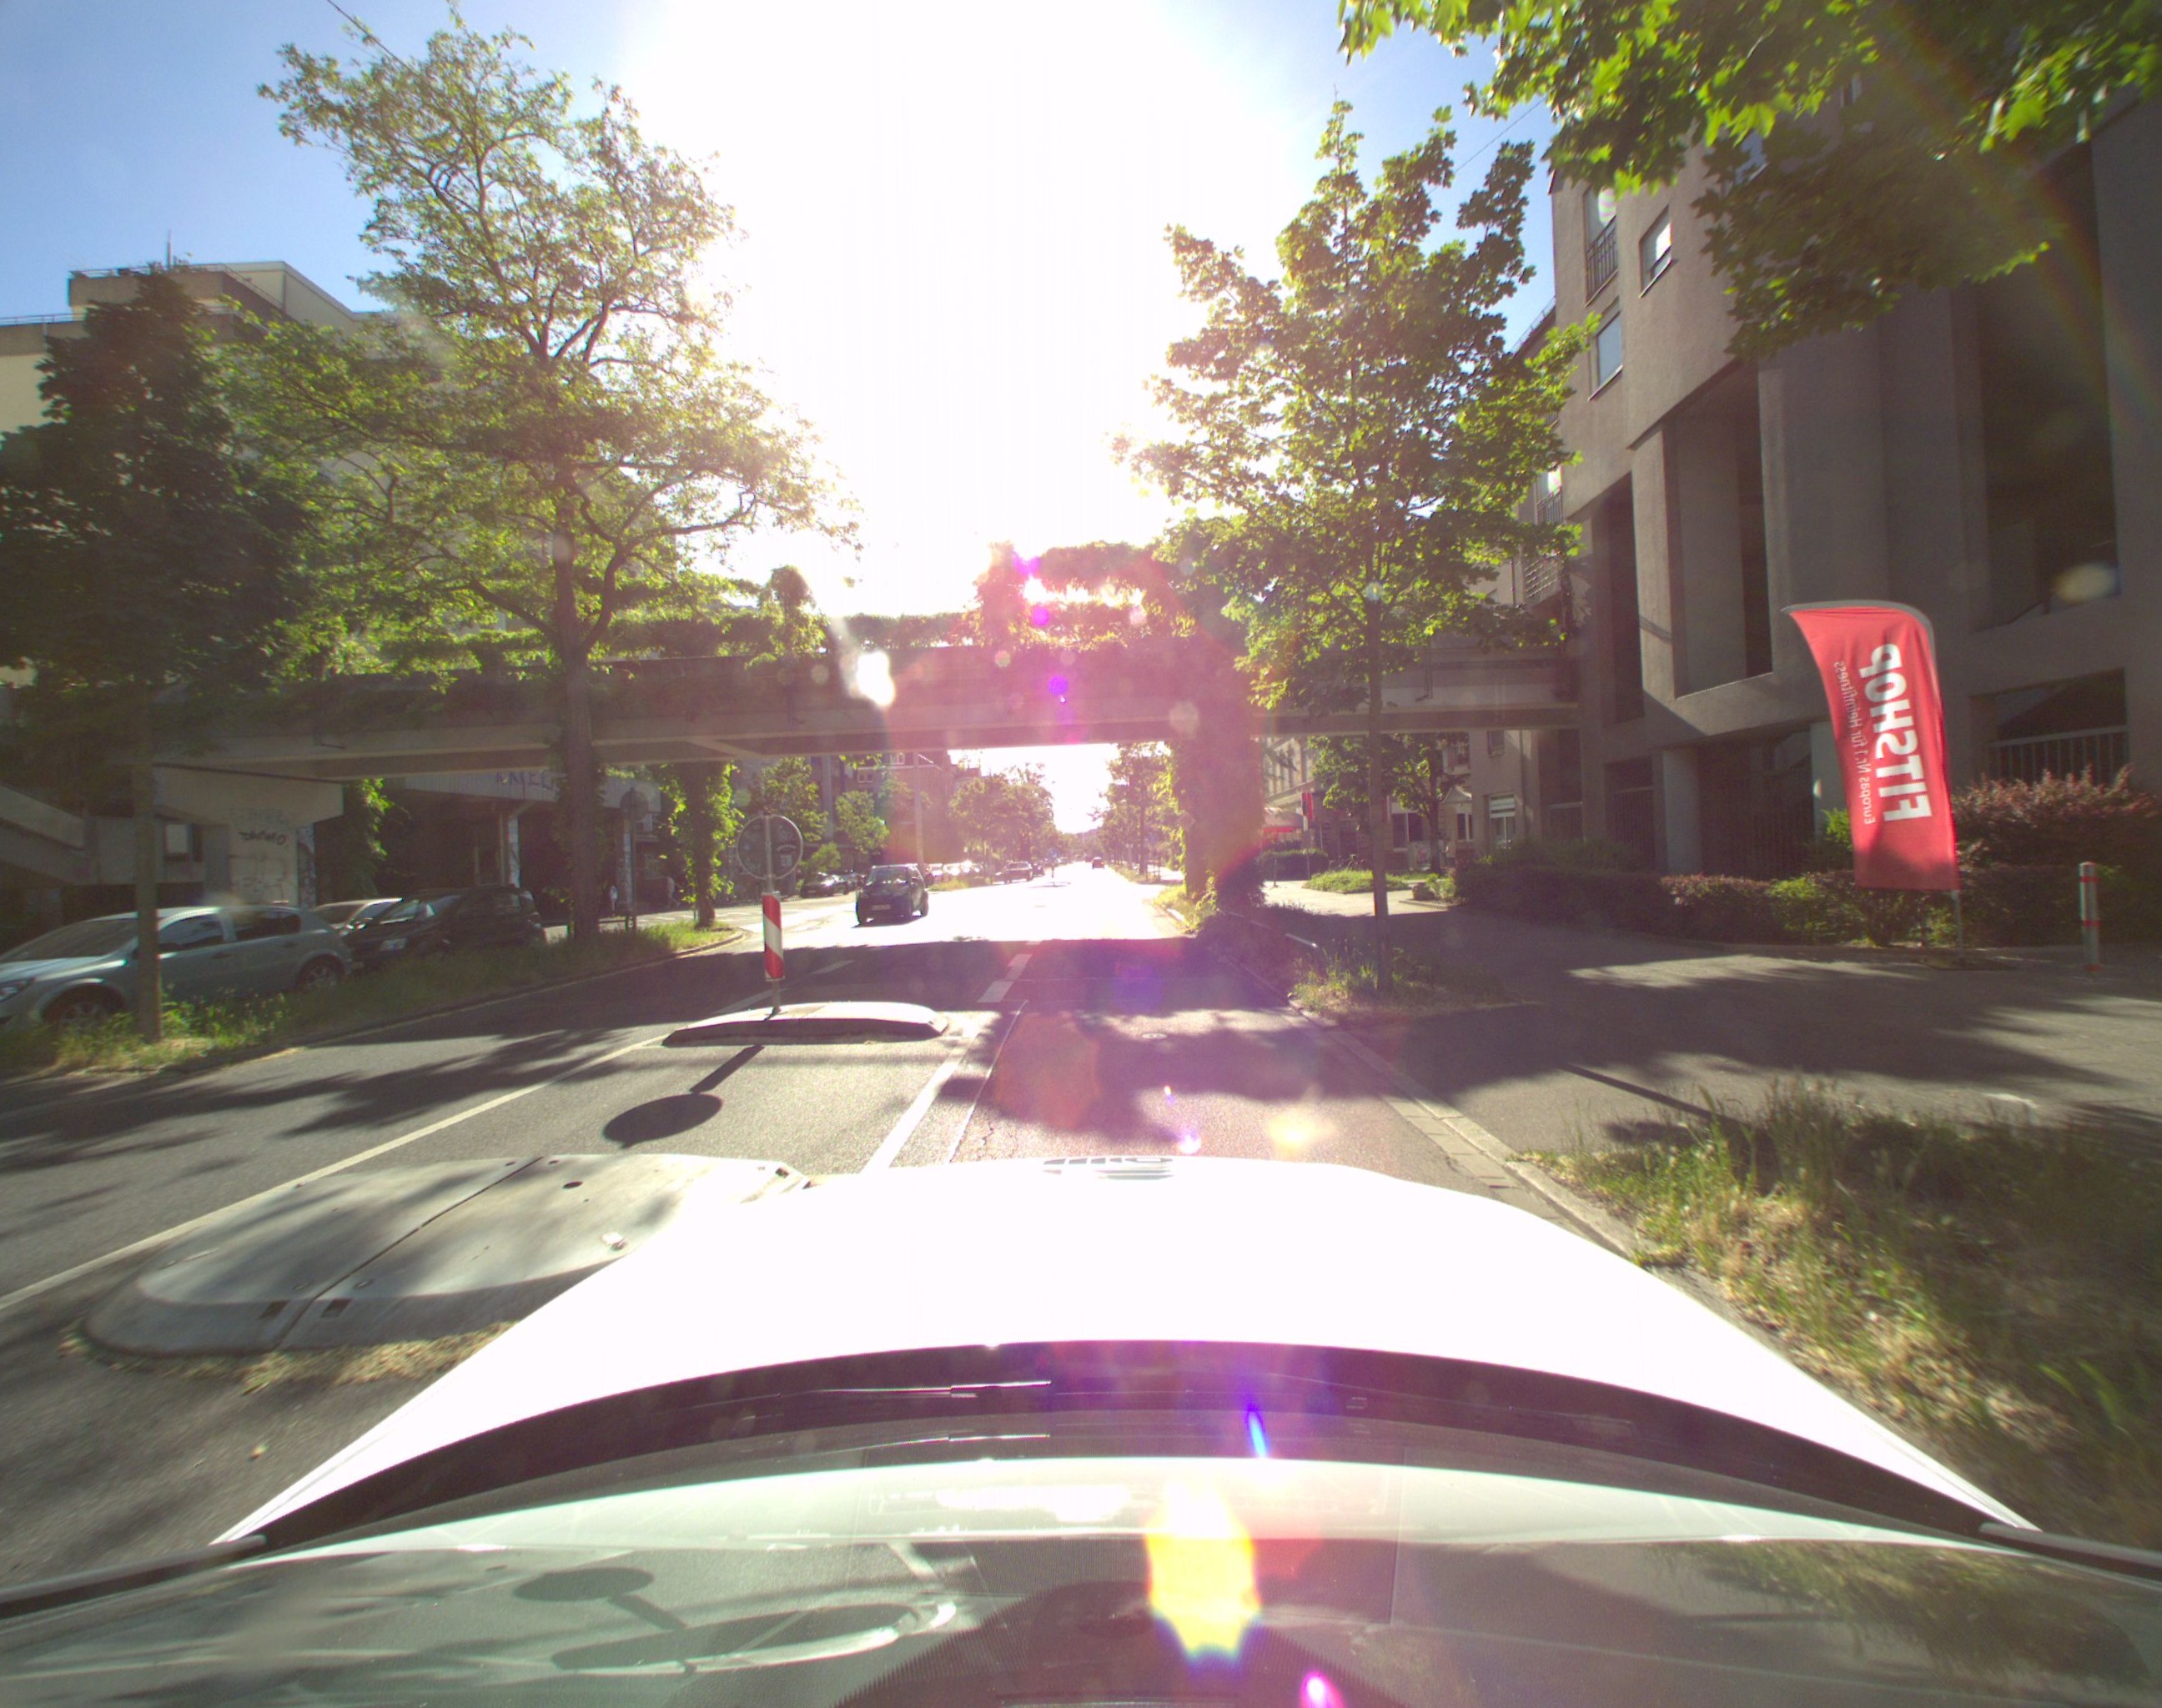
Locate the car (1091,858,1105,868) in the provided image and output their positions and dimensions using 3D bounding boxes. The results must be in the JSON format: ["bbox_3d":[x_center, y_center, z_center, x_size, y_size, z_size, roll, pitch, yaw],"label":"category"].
[{"bbox_3d":[2.220,1.162,107.278,1.791,1.223,4.002,-3,0,2],"label":"car"}]

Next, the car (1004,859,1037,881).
[{"bbox_3d":[-4.386,1.156,59.838,1.859,1.458,4.595,-3,0,2],"label":"car"}]

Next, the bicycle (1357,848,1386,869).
[{"bbox_3d":[14.533,0.230,40.692,1.309,0.974,0.392,-3,0,-10],"label":"bicycle"}]

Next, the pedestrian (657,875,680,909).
[{"bbox_3d":[-21.218,1.958,41.913,0.753,1.699,0.796,0,-1,0],"label":"pedestrian"}]

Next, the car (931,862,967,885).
[{"bbox_3d":[-10.435,1.483,64.615,1.855,1.587,4.003,-4,0,3],"label":"car"}]

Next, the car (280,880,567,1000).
[{"bbox_3d":[-11.104,1.354,14.155,1.734,1.538,3.780,-5,0,1],"label":"car"}]

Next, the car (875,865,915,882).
[{"bbox_3d":[-20.306,2.084,89.104,3.978,1.629,1.686,-3,0,-3],"label":"car"}]

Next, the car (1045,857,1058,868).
[{"bbox_3d":[-5.527,1.604,153.140,2.053,2.013,4.632,-3,0,3],"label":"car"}]

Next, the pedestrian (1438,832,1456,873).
[{"bbox_3d":[14.313,-0.056,31.839,0.525,1.576,0.638,-3,0,25],"label":"pedestrian"}]

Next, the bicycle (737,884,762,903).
[{"bbox_3d":[-19.104,2.288,46.950,0.411,1.001,1.807,0,0,11],"label":"bicycle"}]

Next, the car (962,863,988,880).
[{"bbox_3d":[-9.909,1.626,76.209,1.748,1.398,4.000,-3,0,1],"label":"car"}]

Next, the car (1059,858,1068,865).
[{"bbox_3d":[-4.319,1.861,202.150,1.985,1.695,4.004,-3,0,3],"label":"car"}]

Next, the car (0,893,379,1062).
[{"bbox_3d":[-11.314,1.381,9.931,1.647,1.448,4.281,-6,0,0],"label":"car"}]

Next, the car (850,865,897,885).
[{"bbox_3d":[-19.568,1.948,76.990,3.978,1.629,1.686,-3,0,-3],"label":"car"}]

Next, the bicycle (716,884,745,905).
[{"bbox_3d":[-19.304,2.218,44.893,0.411,1.031,1.810,0,0,17],"label":"bicycle"}]

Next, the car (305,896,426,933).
[{"bbox_3d":[-33.630,2.823,38.360,4.037,1.410,1.767,-3,0,0],"label":"car"}]

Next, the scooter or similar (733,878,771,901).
[{"bbox_3d":[-20.182,2.183,50.001,1.963,1.277,0.630,-3,0,-4],"label":"scooter or similar"}]

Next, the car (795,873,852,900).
[{"bbox_3d":[-16.294,2.021,51.769,1.883,1.398,4.533,-4,0,3],"label":"car"}]

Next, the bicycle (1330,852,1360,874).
[{"bbox_3d":[12.916,0.446,39.847,1.309,0.974,0.392,-3,0,-10],"label":"bicycle"}]

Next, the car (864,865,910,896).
[{"bbox_3d":[-10.803,1.444,45.576,1.715,1.518,3.529,-4,0,-2],"label":"car"}]

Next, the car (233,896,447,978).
[{"bbox_3d":[-17.153,1.855,19.113,1.601,1.486,3.648,-3,0,0],"label":"car"}]

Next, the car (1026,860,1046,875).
[{"bbox_3d":[-4.449,1.310,80.082,1.646,1.428,3.507,-3,0,1],"label":"car"}]

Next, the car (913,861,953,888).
[{"bbox_3d":[-10.568,1.439,58.532,1.882,1.662,4.530,-5,0,1],"label":"car"}]

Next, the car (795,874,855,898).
[{"bbox_3d":[-19.380,2.429,61.749,3.978,1.551,1.768,-3,0,-3],"label":"car"}]

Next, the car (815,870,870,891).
[{"bbox_3d":[-19.487,2.173,66.595,3.978,1.424,1.686,-3,0,-3],"label":"car"}]

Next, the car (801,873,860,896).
[{"bbox_3d":[-19.676,2.383,64.017,3.978,1.607,1.840,-3,0,-3],"label":"car"}]

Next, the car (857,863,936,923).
[{"bbox_3d":[-5.229,1.065,23.376,1.461,1.527,2.818,-3,0,2],"label":"car"}]

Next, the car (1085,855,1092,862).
[{"bbox_3d":[2.306,1.338,240.574,1.751,1.783,4.002,-3,0,2],"label":"car"}]

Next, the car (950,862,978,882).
[{"bbox_3d":[-10.183,1.512,70.970,1.745,1.553,4.000,-4,0,1],"label":"car"}]

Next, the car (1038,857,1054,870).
[{"bbox_3d":[-5.695,1.478,132.894,1.985,2.013,4.209,-3,0,3],"label":"car"}]

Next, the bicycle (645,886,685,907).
[{"bbox_3d":[-22.214,2.274,43.496,1.795,1.001,0.483,-2,1,-8],"label":"bicycle"}]

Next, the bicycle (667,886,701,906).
[{"bbox_3d":[-21.597,2.292,44.356,1.619,1.001,0.412,-1,0,-22],"label":"bicycle"}]
